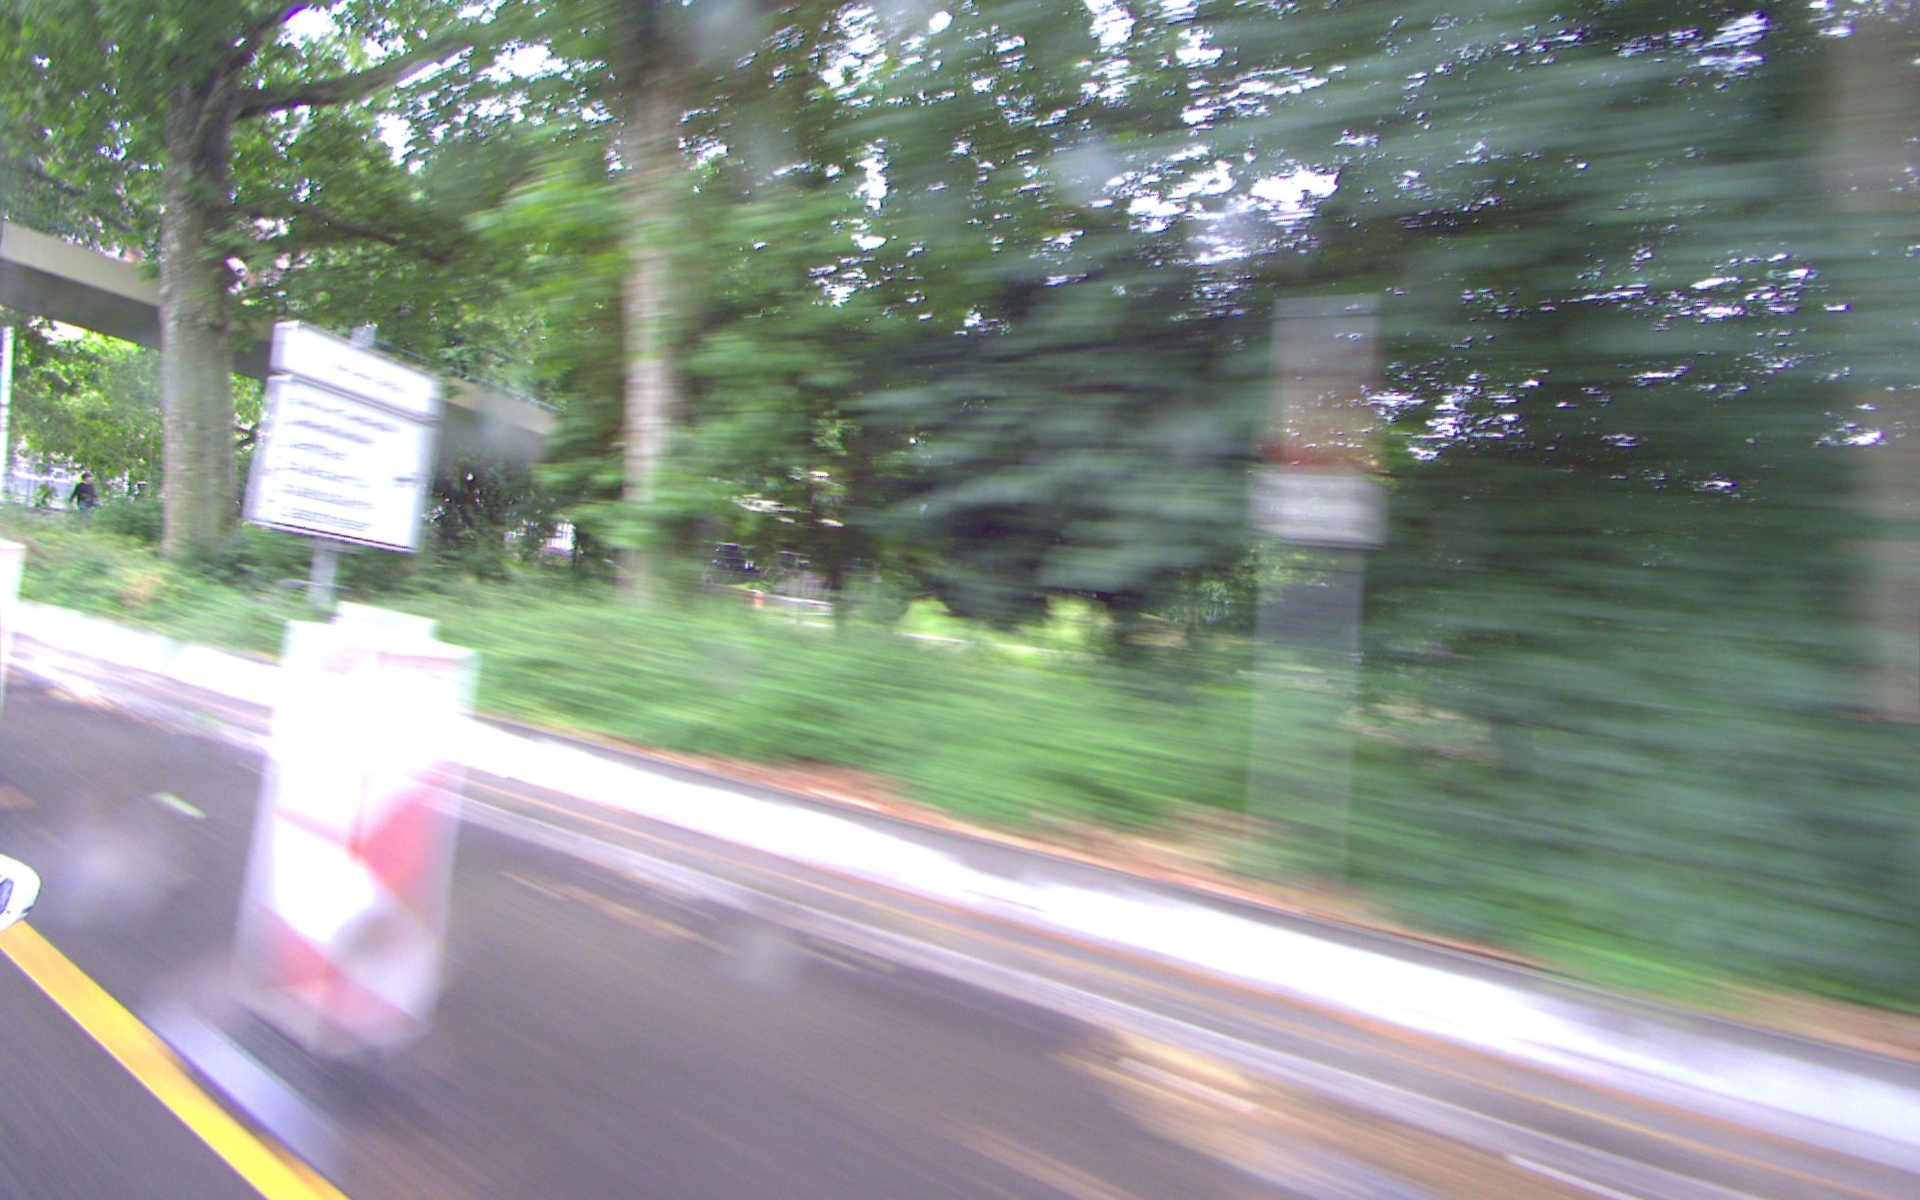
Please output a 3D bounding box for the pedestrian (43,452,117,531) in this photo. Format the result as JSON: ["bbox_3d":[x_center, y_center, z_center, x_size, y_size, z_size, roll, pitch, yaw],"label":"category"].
[{"bbox_3d":[-25.439,-3.108,29.109,1.021,2.039,1.050,7,1,-7],"label":"pedestrian"}]
